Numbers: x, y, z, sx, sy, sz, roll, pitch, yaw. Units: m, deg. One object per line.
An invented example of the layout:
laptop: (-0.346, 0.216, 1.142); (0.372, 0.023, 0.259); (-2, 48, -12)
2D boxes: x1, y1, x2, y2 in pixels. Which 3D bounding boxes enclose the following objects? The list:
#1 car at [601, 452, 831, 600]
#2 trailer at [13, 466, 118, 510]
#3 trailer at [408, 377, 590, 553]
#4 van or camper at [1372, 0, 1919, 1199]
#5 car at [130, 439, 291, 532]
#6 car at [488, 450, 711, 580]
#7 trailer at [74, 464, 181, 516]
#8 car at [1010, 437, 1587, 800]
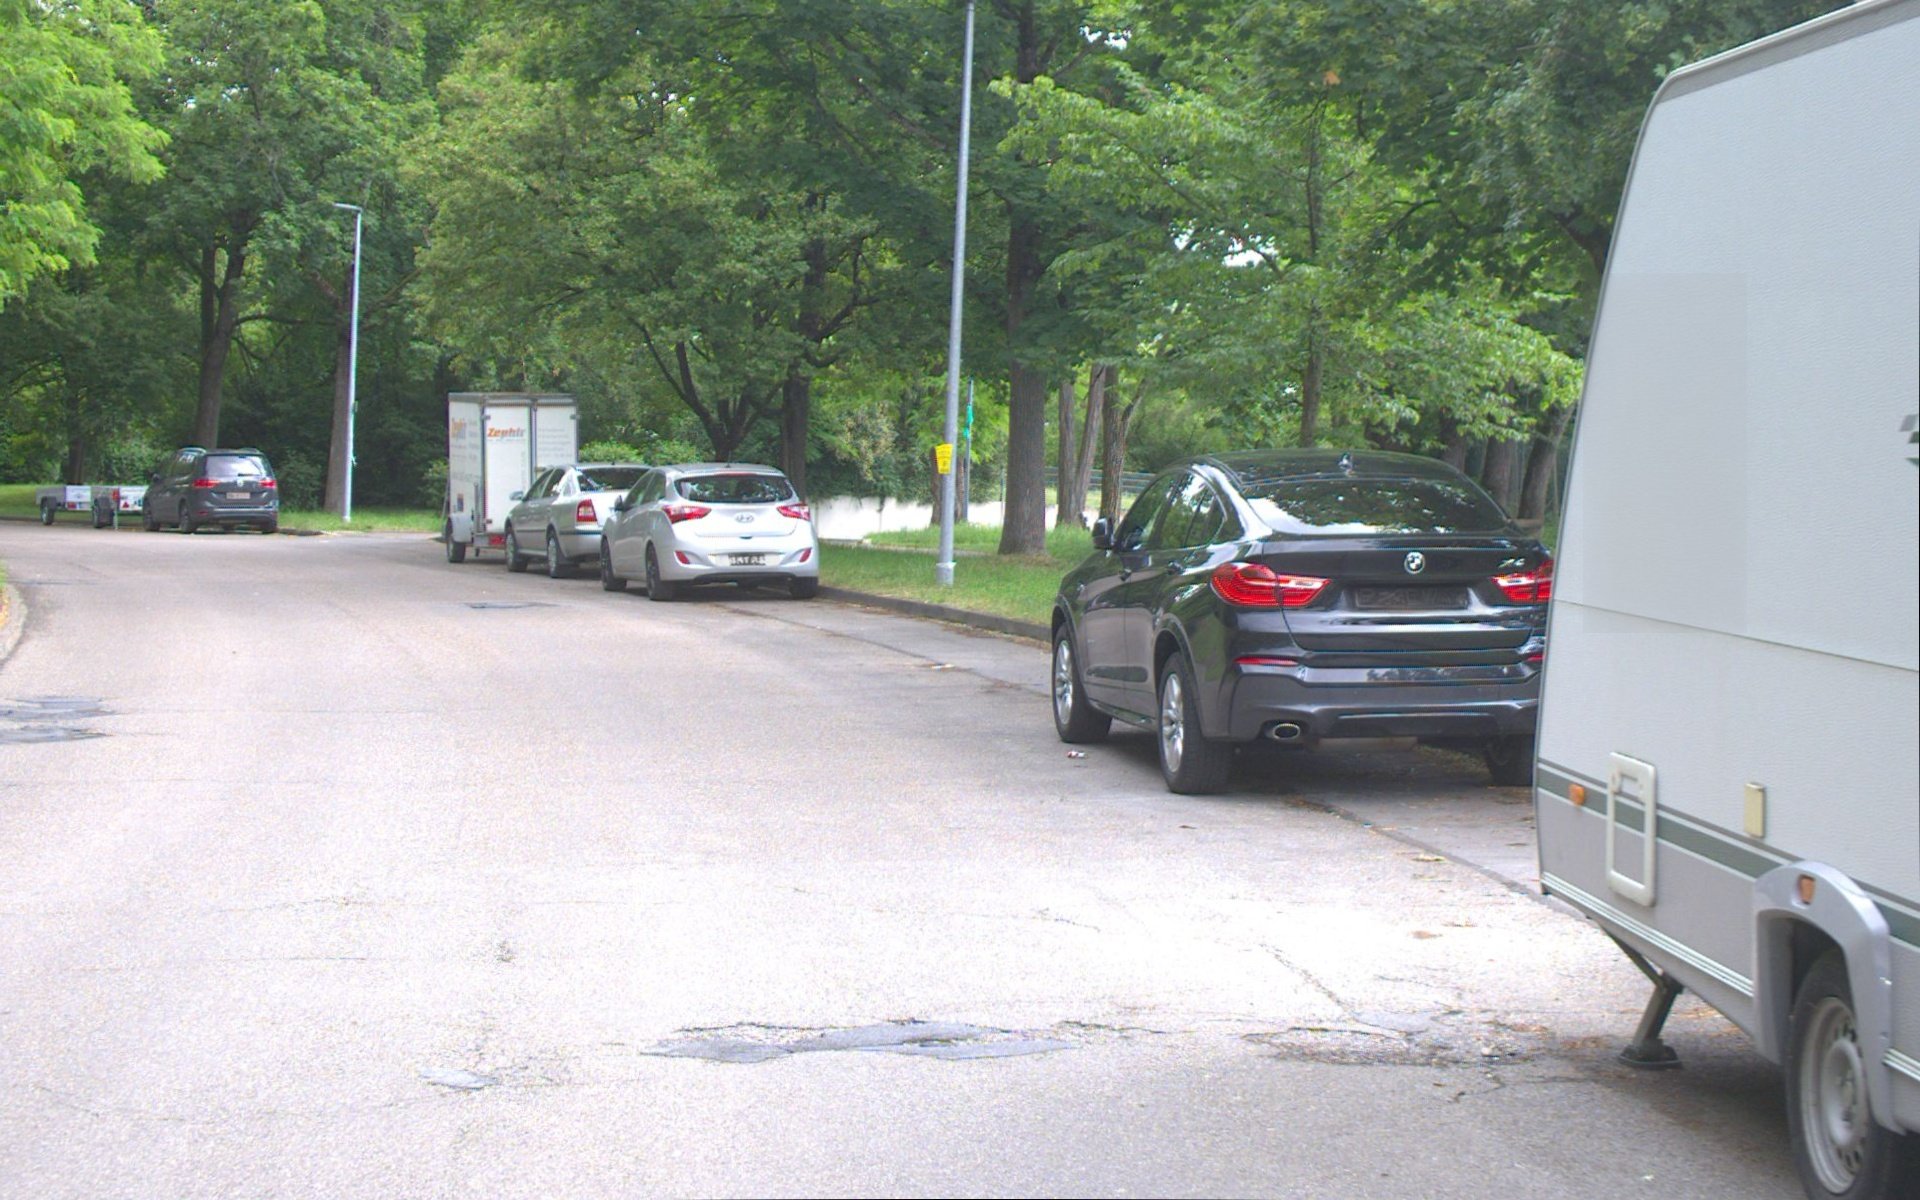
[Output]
car: (-2.752, -0.848, 37.943); (1.902, 1.471, 4.060); (2, 2, -12)
trailer: (-19.927, -2.495, 76.527); (1.363, 0.845, 3.279); (1, 2, -31)
trailer: (-6.669, -1.924, 49.433); (1.760, 2.418, 3.888); (-1, 2, -20)
van or camper: (2.640, -0.144, 7.816); (2.161, 2.527, 6.033); (1, 1, -5)
car: (-14.644, -2.258, 66.981); (1.775, 1.657, 4.842); (2, 2, -28)
car: (-4.719, -1.133, 44.402); (1.740, 1.520, 4.637); (2, 2, -20)
trailer: (-17.539, -2.332, 72.364); (1.357, 0.965, 3.894); (2, 2, -26)
car: (1.583, 0.024, 17.871); (1.848, 1.637, 4.532); (0, 2, -10)
